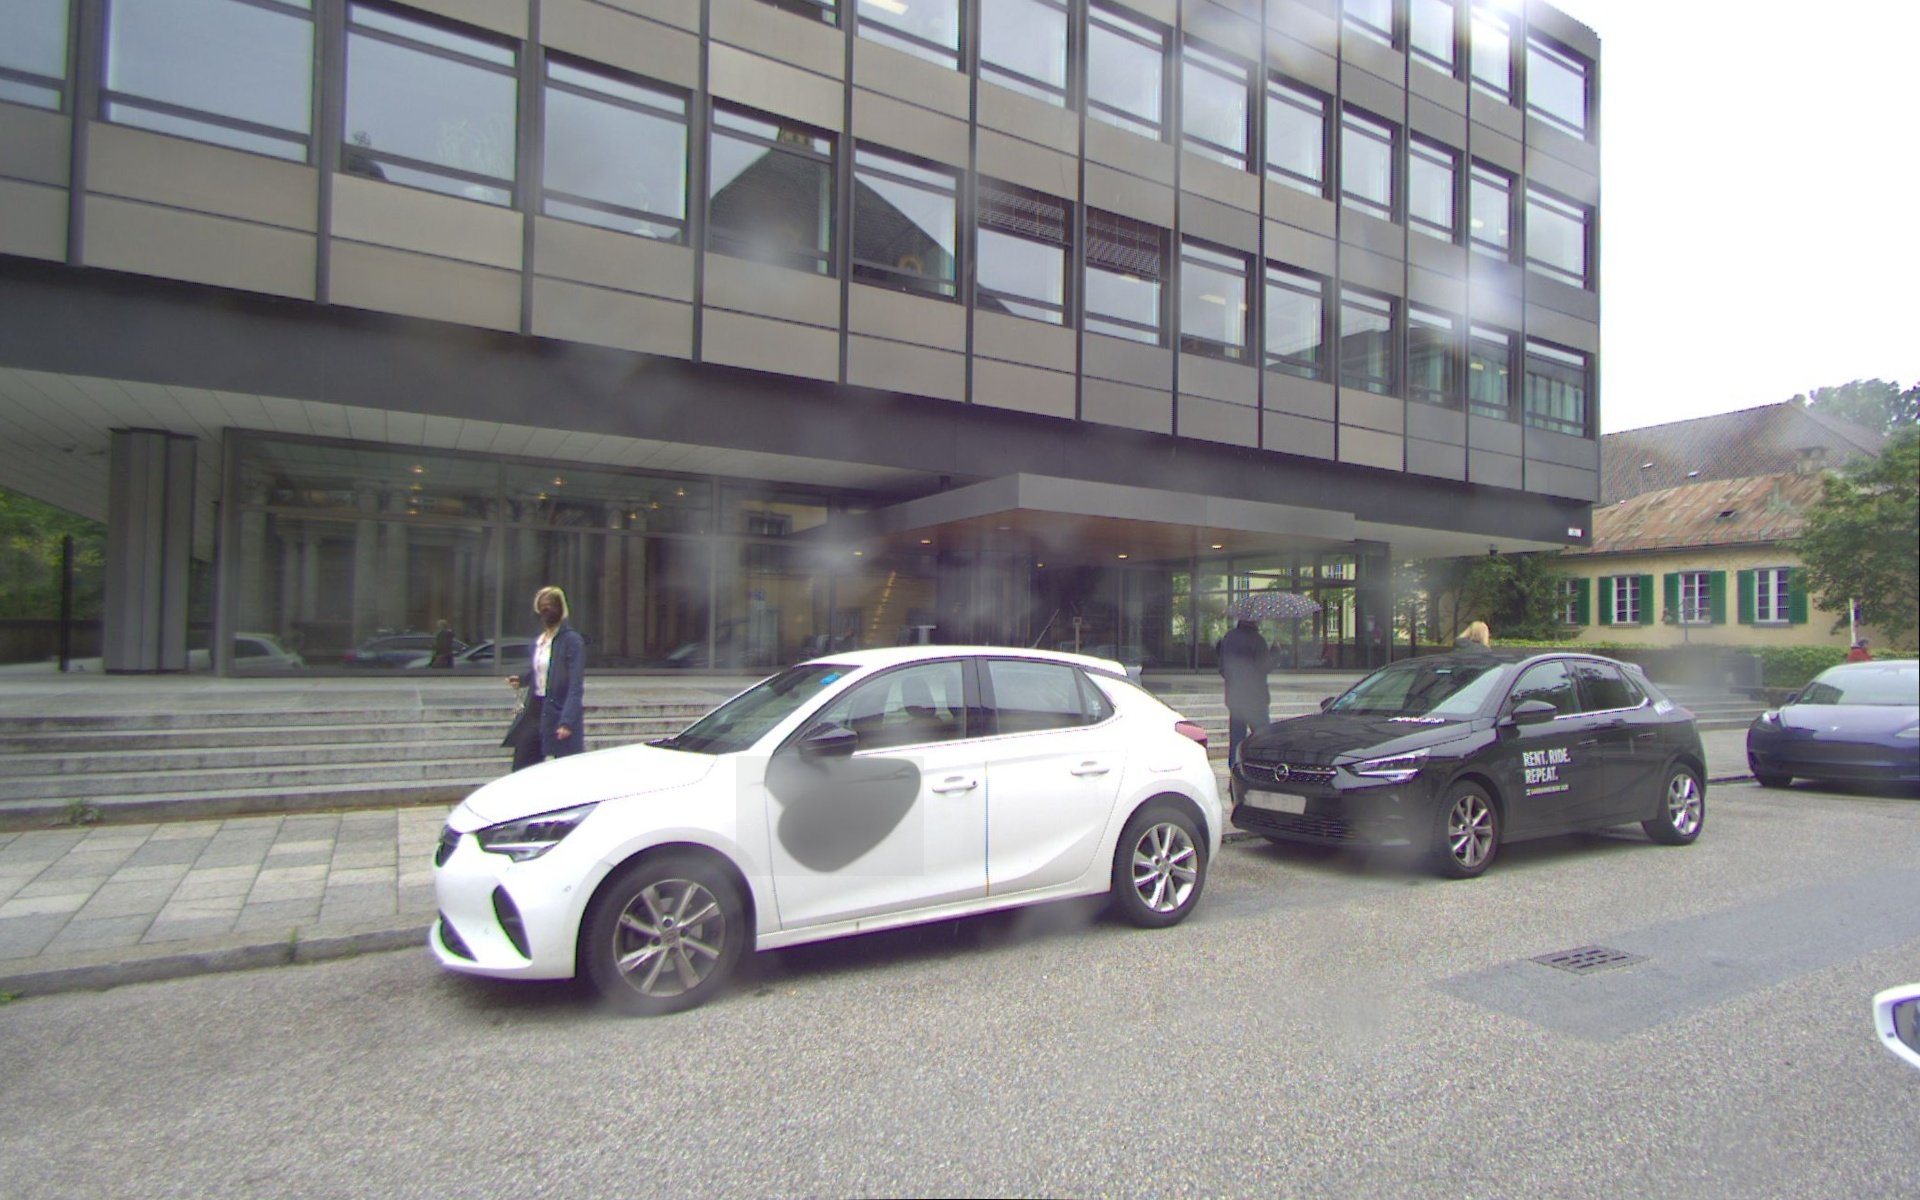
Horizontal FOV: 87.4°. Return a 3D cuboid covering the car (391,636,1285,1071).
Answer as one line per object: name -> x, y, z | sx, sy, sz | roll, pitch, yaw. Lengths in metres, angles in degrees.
car -> -0.475, 0.985, 5.196 | 4.228, 1.458, 1.675 | 2, -5, -30

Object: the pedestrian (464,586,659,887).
pedestrian -> -2.570, 0.831, 6.556 | 0.677, 1.775, 0.893 | 2, -1, 21

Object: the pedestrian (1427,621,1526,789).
pedestrian -> 5.793, 1.135, 11.263 | 0.745, 1.772, 0.947 | -1, -3, 44

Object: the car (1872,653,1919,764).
car -> 15.416, 1.528, 14.411 | 4.824, 1.510, 1.986 | 2, -4, -29

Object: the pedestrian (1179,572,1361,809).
pedestrian -> 2.953, 0.812, 9.625 | 1.207, 2.082, 1.129 | 2, -1, -30

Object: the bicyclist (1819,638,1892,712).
bicyclist -> 19.115, 1.595, 21.470 | 1.077, 1.517, 0.672 | 0, -3, 36

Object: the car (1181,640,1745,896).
car -> 3.870, 1.096, 7.619 | 4.184, 1.480, 1.733 | 2, -5, -29

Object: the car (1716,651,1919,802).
car -> 11.006, 1.372, 11.647 | 4.863, 1.458, 1.913 | 3, -5, -32
